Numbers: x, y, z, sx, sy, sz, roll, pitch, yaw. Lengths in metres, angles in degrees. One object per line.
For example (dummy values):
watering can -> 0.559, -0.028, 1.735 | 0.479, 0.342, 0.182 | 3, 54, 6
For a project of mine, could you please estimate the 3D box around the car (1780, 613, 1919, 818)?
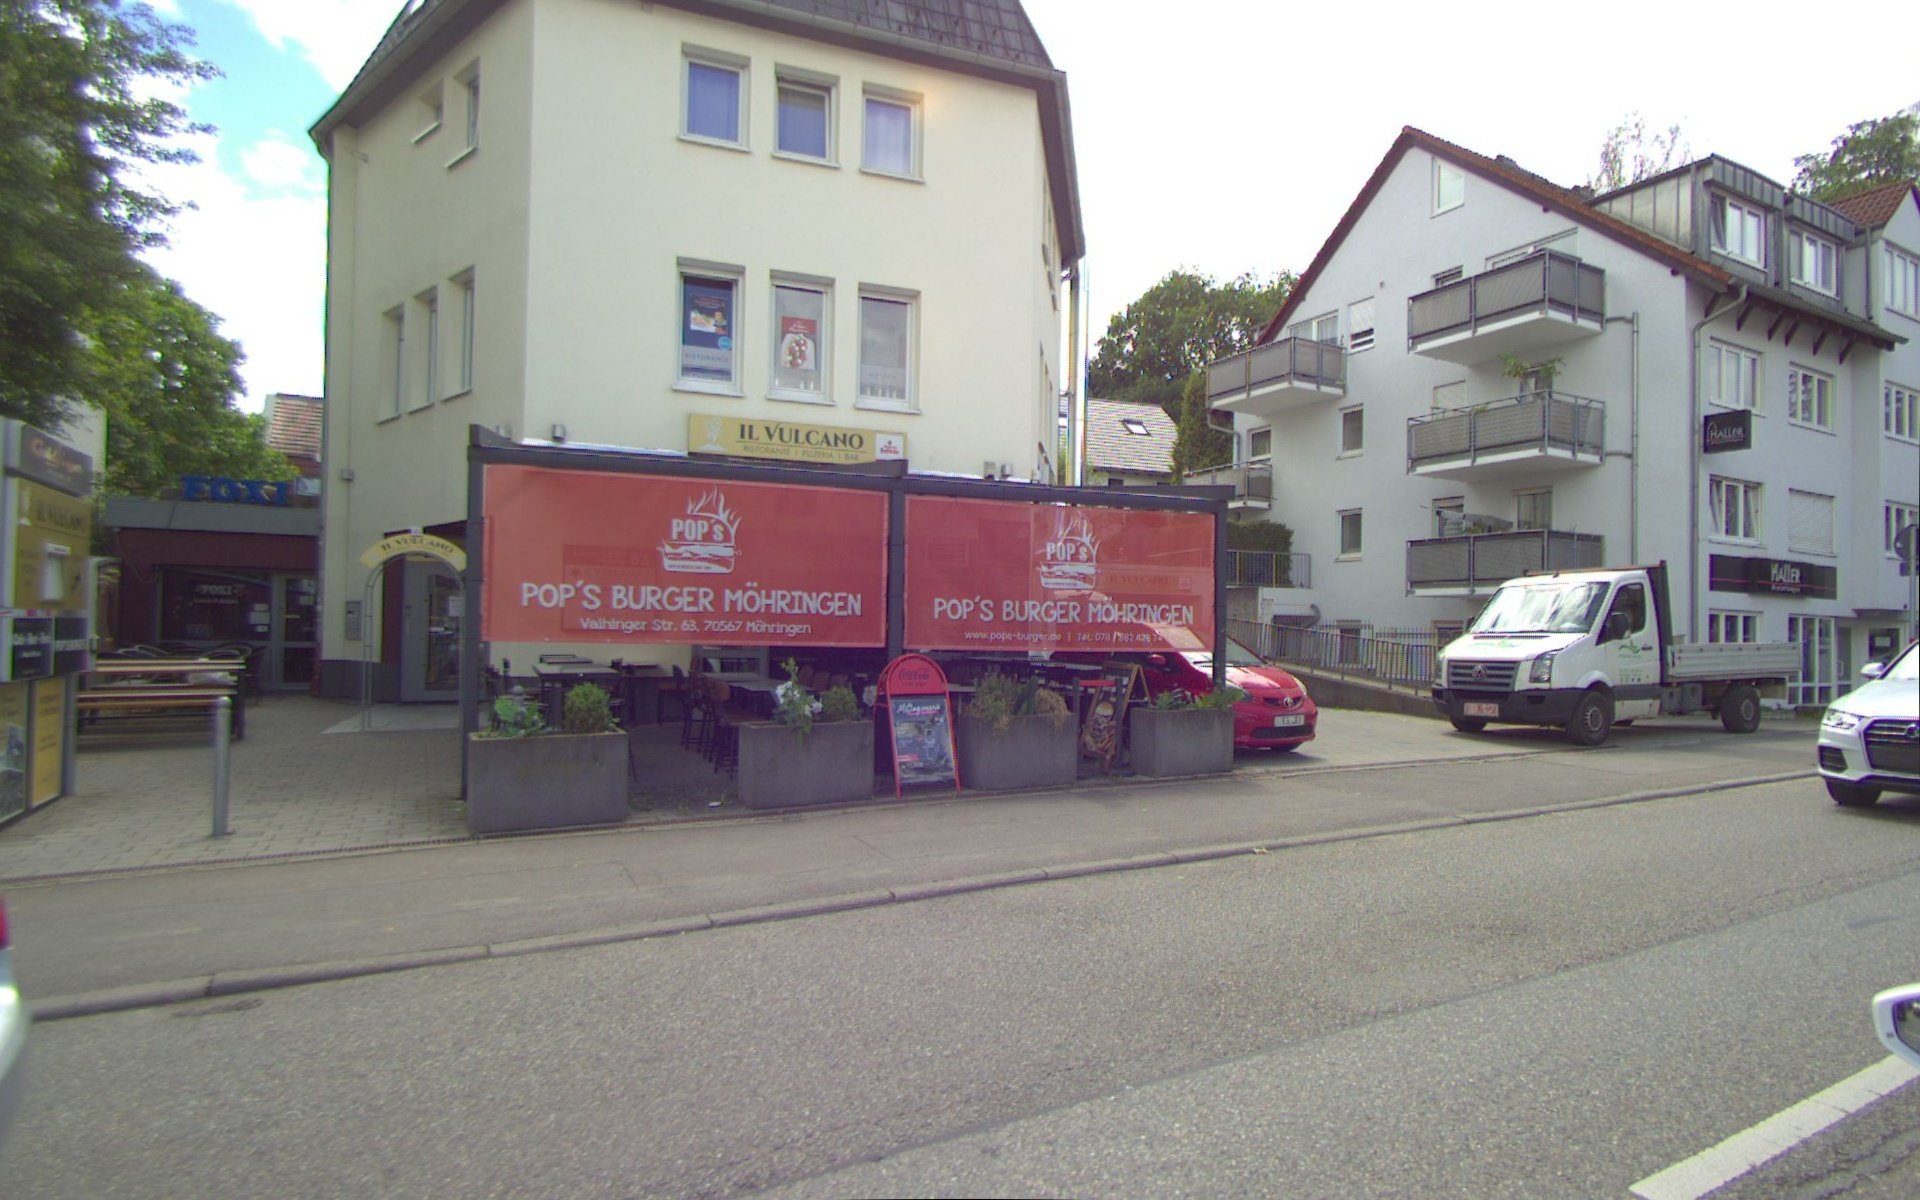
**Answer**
car -> 9.229, 0.942, 8.780 | 4.109, 1.591, 1.798 | 2, -3, -29

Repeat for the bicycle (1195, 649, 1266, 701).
bicycle -> 5.621, 1.546, 20.951 | 0.567, 1.015, 1.723 | 2, -2, -18

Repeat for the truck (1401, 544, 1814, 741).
truck -> 9.569, 0.634, 14.709 | 6.243, 2.411, 2.217 | 2, -1, -27

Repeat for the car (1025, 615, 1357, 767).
car -> 2.571, 0.943, 11.966 | 1.785, 1.444, 3.672 | 1, -1, -32
